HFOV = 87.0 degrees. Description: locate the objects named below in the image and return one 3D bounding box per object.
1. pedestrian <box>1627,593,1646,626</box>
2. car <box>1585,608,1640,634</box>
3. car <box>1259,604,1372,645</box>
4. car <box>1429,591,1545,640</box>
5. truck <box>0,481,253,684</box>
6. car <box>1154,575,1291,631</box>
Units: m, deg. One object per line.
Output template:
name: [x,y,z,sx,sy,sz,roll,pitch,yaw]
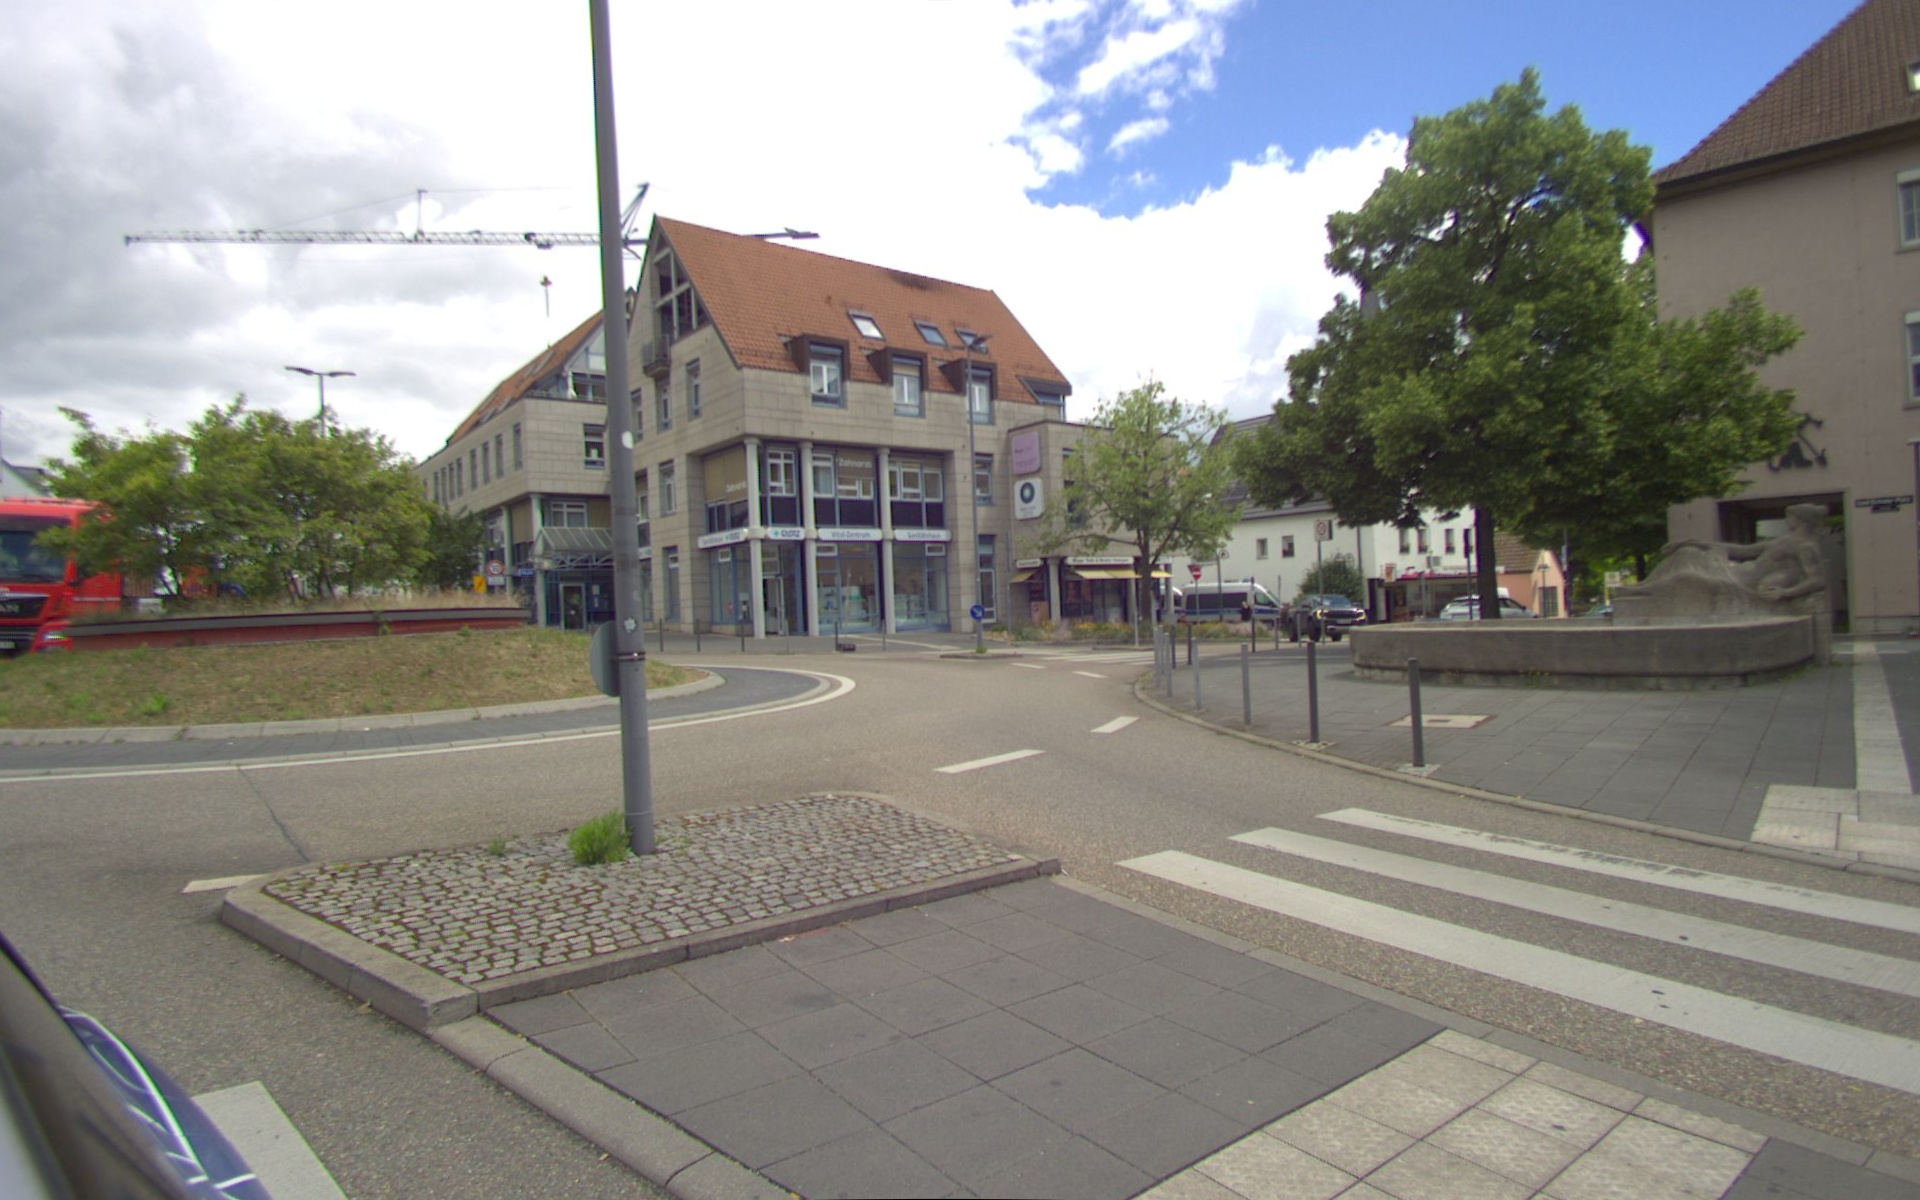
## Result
pedestrian: [32.326,0.441,48.378,0.571,1.560,0.598,-1,0,-40]
car: [36.107,1.142,55.963,1.733,1.276,3.941,-2,0,45]
car: [13.555,0.918,38.803,1.661,1.431,4.013,-1,0,-26]
car: [18.132,0.524,34.767,3.935,1.542,1.988,-1,0,-37]
truck: [-21.063,-0.243,25.135,2.916,4.058,10.628,0,-1,-19]
car: [12.810,0.147,49.387,6.263,2.579,2.190,0,-2,22]
